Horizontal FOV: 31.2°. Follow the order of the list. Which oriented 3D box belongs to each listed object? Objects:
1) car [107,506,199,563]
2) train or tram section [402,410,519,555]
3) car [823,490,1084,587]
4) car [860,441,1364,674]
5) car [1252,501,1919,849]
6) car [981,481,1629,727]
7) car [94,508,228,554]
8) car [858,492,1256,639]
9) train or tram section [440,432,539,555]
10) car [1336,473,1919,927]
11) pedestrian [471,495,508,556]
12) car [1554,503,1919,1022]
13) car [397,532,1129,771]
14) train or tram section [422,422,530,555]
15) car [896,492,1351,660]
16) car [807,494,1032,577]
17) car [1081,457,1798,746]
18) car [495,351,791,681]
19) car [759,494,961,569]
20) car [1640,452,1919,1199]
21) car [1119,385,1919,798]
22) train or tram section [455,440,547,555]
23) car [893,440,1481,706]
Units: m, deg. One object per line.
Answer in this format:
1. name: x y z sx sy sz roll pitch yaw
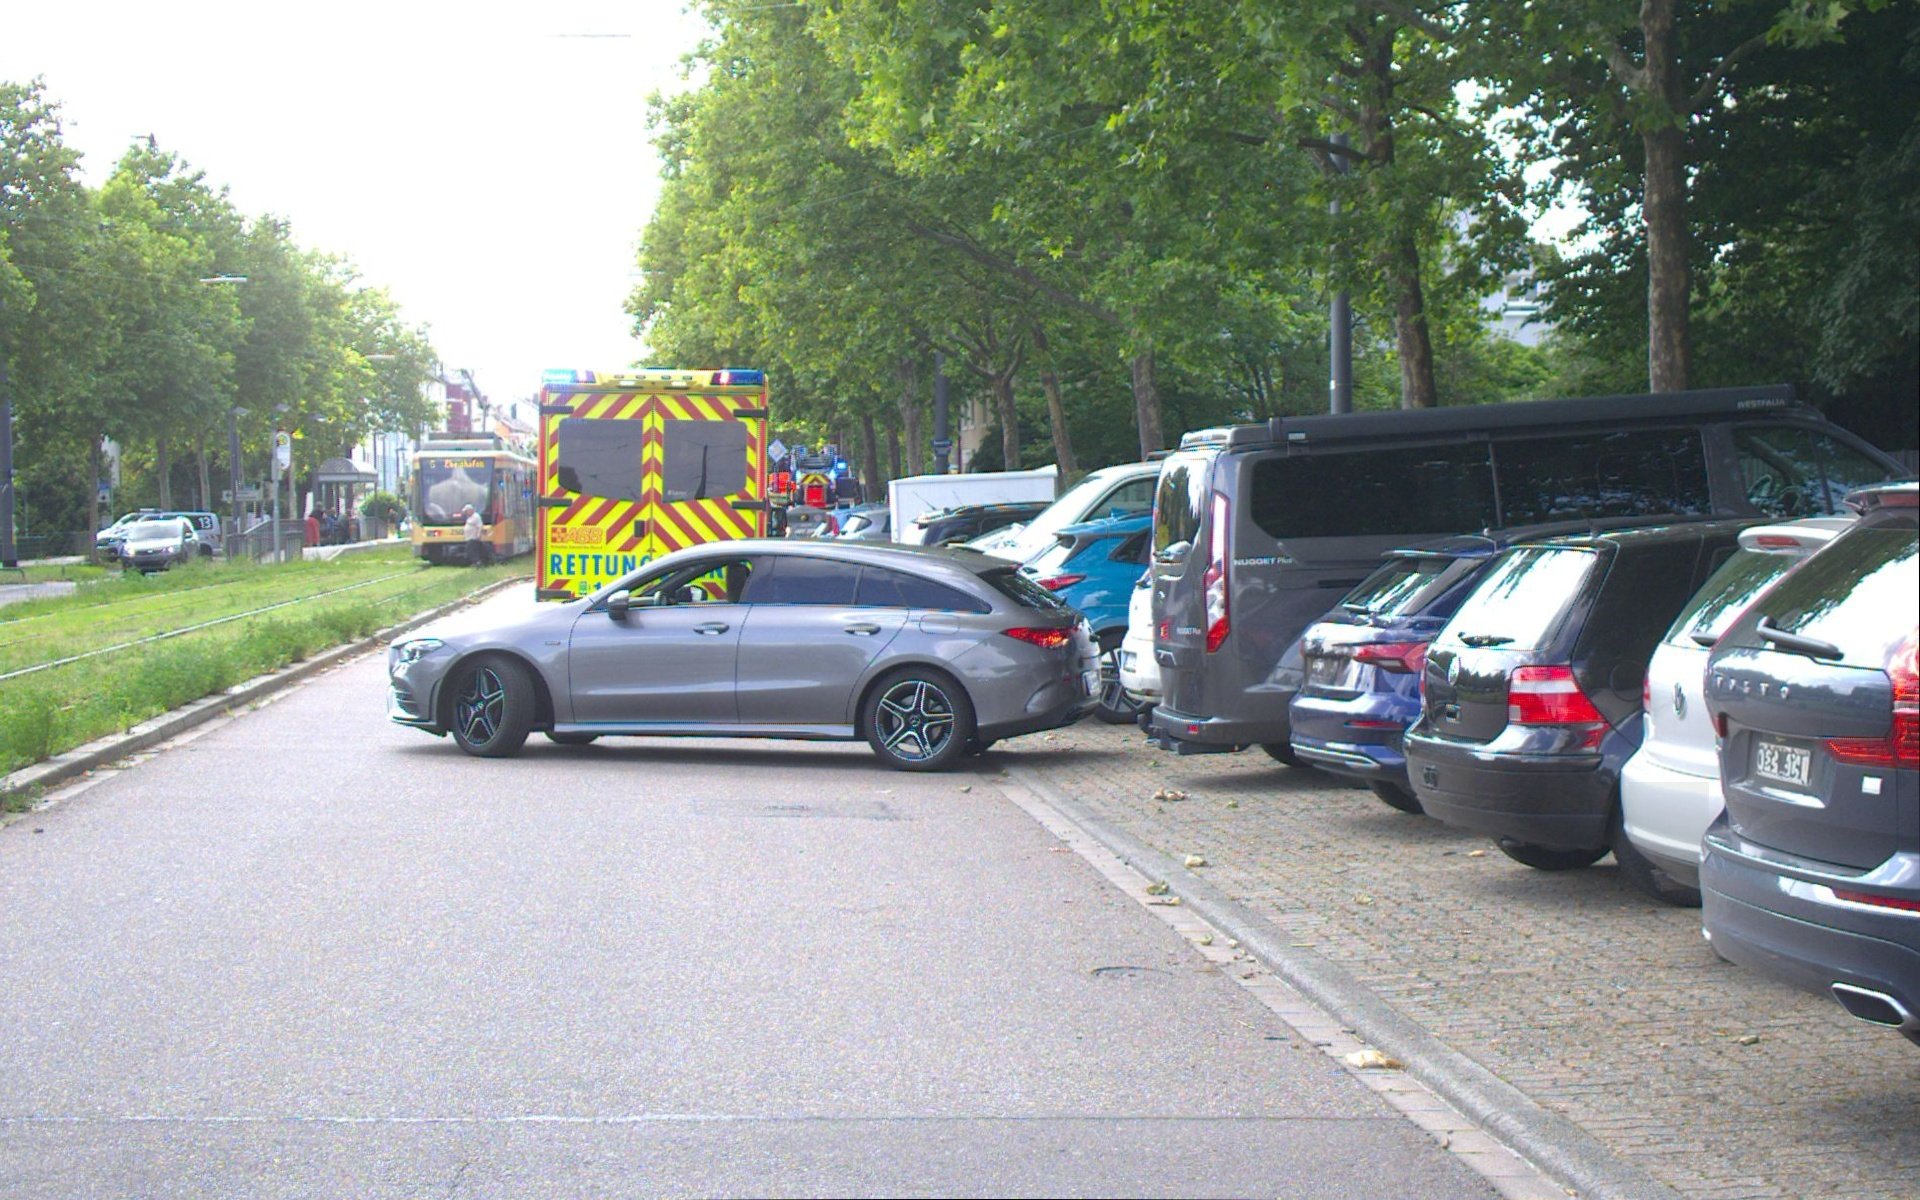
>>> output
1. car: -23.671 -1.947 100.947 1.993 1.552 4.371 -2 2 -5
2. train or tram section: -13.130 -3.028 90.833 2.511 3.572 7.446 -2 1 -5
3. car: -0.147 -1.143 63.389 4.544 1.603 1.856 -2 2 -8
4. car: 1.425 -0.430 33.237 4.544 2.036 1.856 -2 1 -8
5. car: 3.537 0.301 16.561 3.965 1.489 1.756 -2 1 -5
6. car: 2.576 -0.004 26.176 4.544 1.654 1.856 -2 2 -9
7. car: -30.279 -2.621 130.343 4.615 1.627 1.882 -3 2 -43
8. car: 1.148 -0.434 41.872 4.544 1.603 1.856 -2 2 -8
9. train or tram section: -14.411 -3.212 105.659 2.511 3.572 7.446 -2 1 -5
10. car: 3.709 0.295 13.784 3.964 1.600 1.757 -2 2 -15
11. pedestrian: -11.827 -1.873 86.479 0.880 1.520 0.751 1 0 -5
12. car: 4.112 0.406 11.107 3.965 1.489 1.756 -2 2 -5
13. car: -1.228 0.294 22.335 4.455 1.381 1.766 1 1 9
14. train or tram section: -13.774 -3.120 98.239 2.511 3.572 7.446 -2 1 -5
15. car: 1.711 -0.281 36.743 4.544 1.603 1.856 -2 2 -8
16. car: -0.878 -1.391 73.212 4.544 1.603 1.856 -2 2 -8
17. car: 3.227 -0.020 23.682 4.545 1.760 1.856 -2 2 -5
18. car: -3.097 -0.844 34.938 2.641 2.956 6.300 2 1 -3
19. car: -2.388 -1.635 81.358 4.544 1.603 1.856 -2 2 -8
20. car: 4.030 0.417 8.225 4.380 1.634 1.756 -2 2 -2
21. car: 3.322 -0.085 19.733 4.545 2.116 1.856 -2 1 -5
22. train or tram section: -15.040 -3.304 113.076 2.511 3.572 7.446 -2 1 -5
23. car: 1.843 -0.252 28.662 4.544 1.994 1.856 -2 2 -8
